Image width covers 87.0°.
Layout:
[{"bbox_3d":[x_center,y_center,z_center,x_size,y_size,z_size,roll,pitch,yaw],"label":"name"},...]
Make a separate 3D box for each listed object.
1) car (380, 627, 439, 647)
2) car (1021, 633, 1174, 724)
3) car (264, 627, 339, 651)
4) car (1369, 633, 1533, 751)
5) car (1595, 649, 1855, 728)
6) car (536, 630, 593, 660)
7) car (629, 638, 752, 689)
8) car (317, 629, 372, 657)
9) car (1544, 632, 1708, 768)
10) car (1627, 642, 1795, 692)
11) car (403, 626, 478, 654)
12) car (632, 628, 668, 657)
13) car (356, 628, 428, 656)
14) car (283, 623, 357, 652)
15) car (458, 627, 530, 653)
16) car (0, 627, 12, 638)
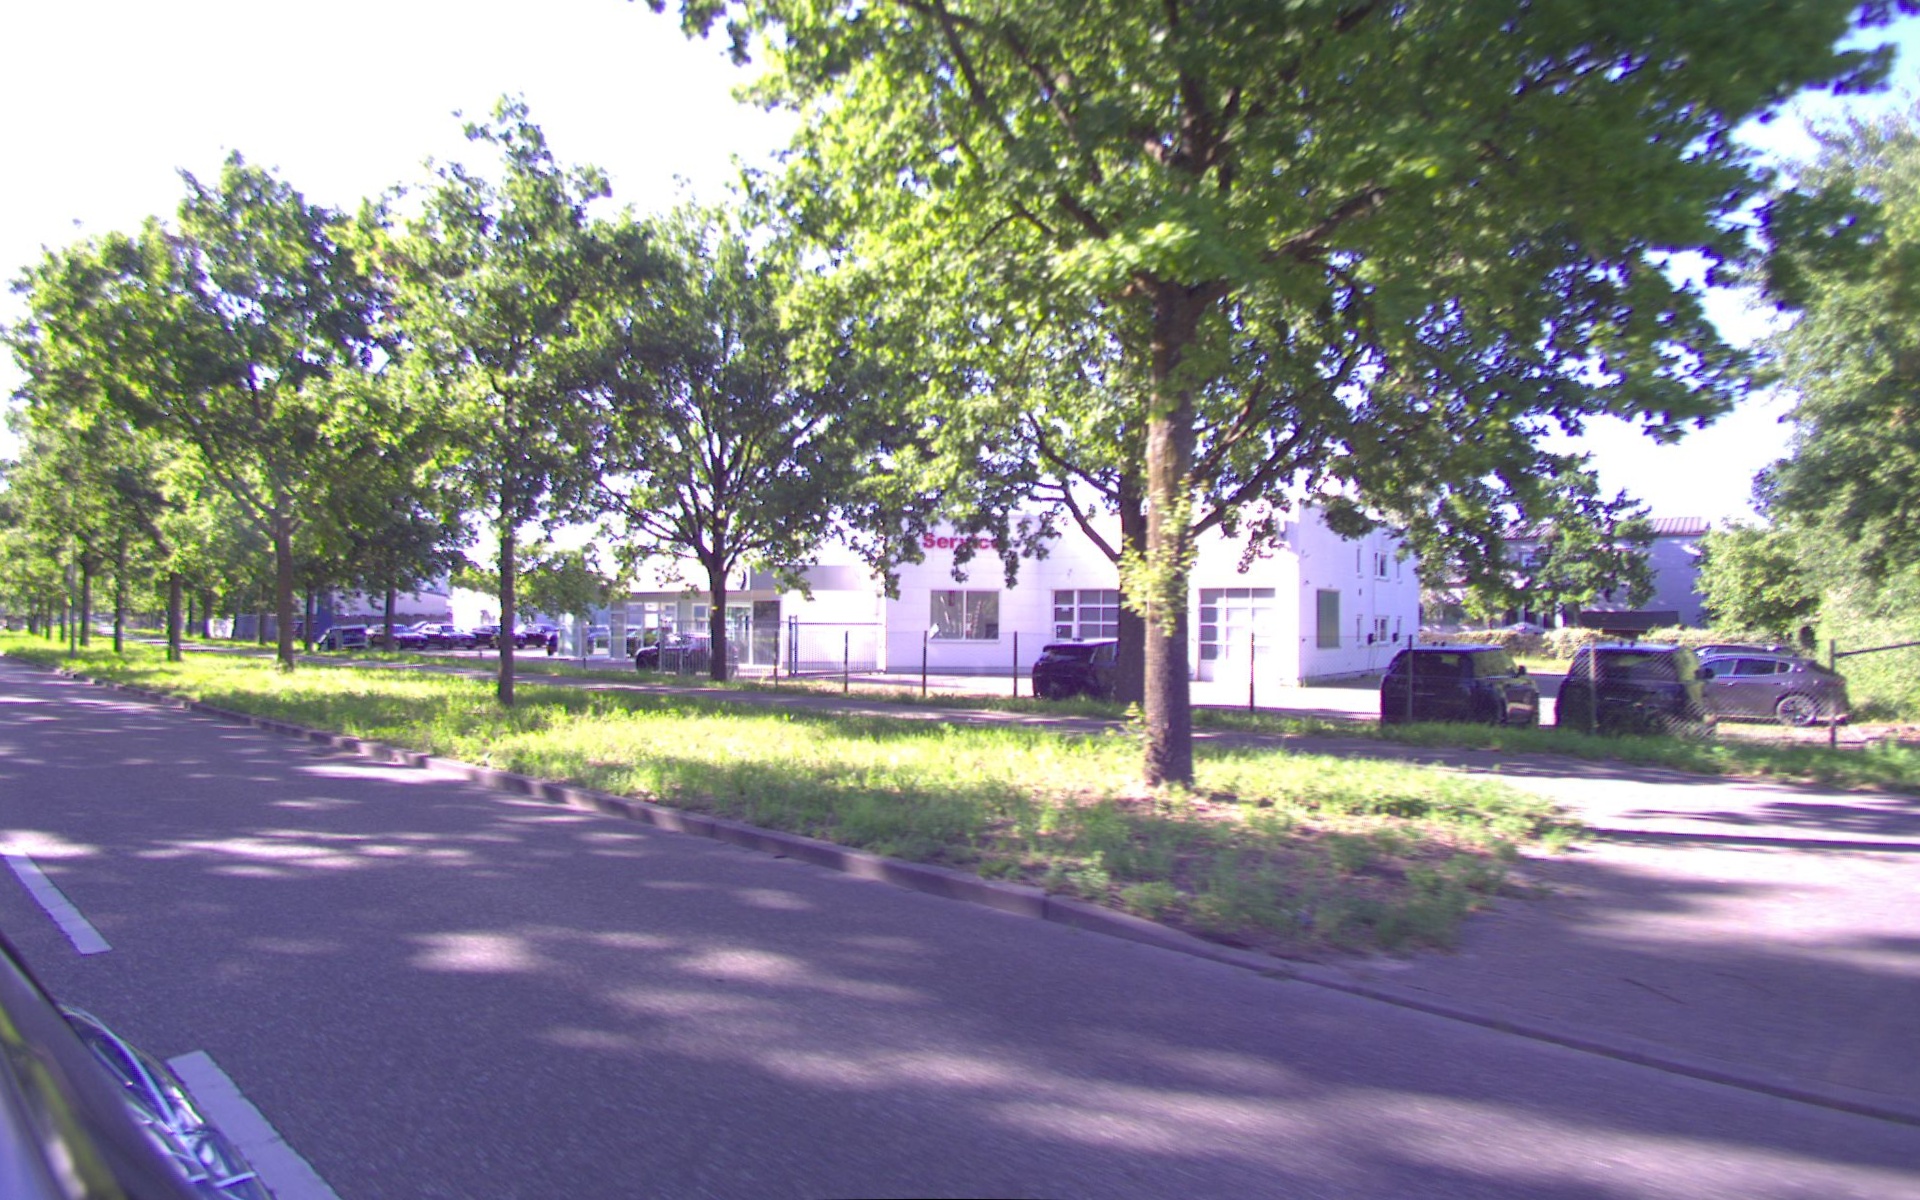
[{"bbox_3d":[-45.713,3.042,84.064,3.940,1.530,1.753,-1,0,-44],"label":"car"},{"bbox_3d":[3.339,1.761,24.072,1.996,1.815,3.952,-1,0,36],"label":"car"},{"bbox_3d":[-47.270,2.810,72.732,4.260,1.530,1.863,-1,0,-44],"label":"car"},{"bbox_3d":[9.392,1.605,19.180,1.997,1.815,4.150,-1,0,38],"label":"car"},{"bbox_3d":[18.444,2.077,24.693,4.876,1.578,1.975,-1,0,37],"label":"car"},{"bbox_3d":[-23.452,2.646,60.225,1.968,1.673,5.268,-1,-2,-8],"label":"car"},{"bbox_3d":[-9.950,2.276,37.188,5.014,1.610,1.972,-1,0,42],"label":"car"},{"bbox_3d":[-33.817,2.333,55.640,2.531,1.481,1.430,1,-2,-30],"label":"car"},{"bbox_3d":[11.301,1.530,17.037,1.997,1.815,4.150,-1,0,38],"label":"car"},{"bbox_3d":[28.109,2.455,37.990,4.885,1.578,1.972,-1,0,43],"label":"car"},{"bbox_3d":[-35.040,2.674,68.234,5.238,1.730,1.980,-1,0,30],"label":"car"},{"bbox_3d":[-19.219,2.594,62.662,1.965,1.673,5.025,0,-2,-19],"label":"car"},{"bbox_3d":[-37.063,2.728,66.036,4.479,1.688,1.981,-1,0,28],"label":"car"},{"bbox_3d":[-43.496,2.525,68.847,3.940,1.755,2.002,-1,0,-43],"label":"car"},{"bbox_3d":[-32.520,2.783,70.606,5.241,1.702,1.979,-1,0,32],"label":"car"},{"bbox_3d":[-149.318,5.040,157.962,1.747,1.685,4.202,3,-3,-45],"label":"car"}]
